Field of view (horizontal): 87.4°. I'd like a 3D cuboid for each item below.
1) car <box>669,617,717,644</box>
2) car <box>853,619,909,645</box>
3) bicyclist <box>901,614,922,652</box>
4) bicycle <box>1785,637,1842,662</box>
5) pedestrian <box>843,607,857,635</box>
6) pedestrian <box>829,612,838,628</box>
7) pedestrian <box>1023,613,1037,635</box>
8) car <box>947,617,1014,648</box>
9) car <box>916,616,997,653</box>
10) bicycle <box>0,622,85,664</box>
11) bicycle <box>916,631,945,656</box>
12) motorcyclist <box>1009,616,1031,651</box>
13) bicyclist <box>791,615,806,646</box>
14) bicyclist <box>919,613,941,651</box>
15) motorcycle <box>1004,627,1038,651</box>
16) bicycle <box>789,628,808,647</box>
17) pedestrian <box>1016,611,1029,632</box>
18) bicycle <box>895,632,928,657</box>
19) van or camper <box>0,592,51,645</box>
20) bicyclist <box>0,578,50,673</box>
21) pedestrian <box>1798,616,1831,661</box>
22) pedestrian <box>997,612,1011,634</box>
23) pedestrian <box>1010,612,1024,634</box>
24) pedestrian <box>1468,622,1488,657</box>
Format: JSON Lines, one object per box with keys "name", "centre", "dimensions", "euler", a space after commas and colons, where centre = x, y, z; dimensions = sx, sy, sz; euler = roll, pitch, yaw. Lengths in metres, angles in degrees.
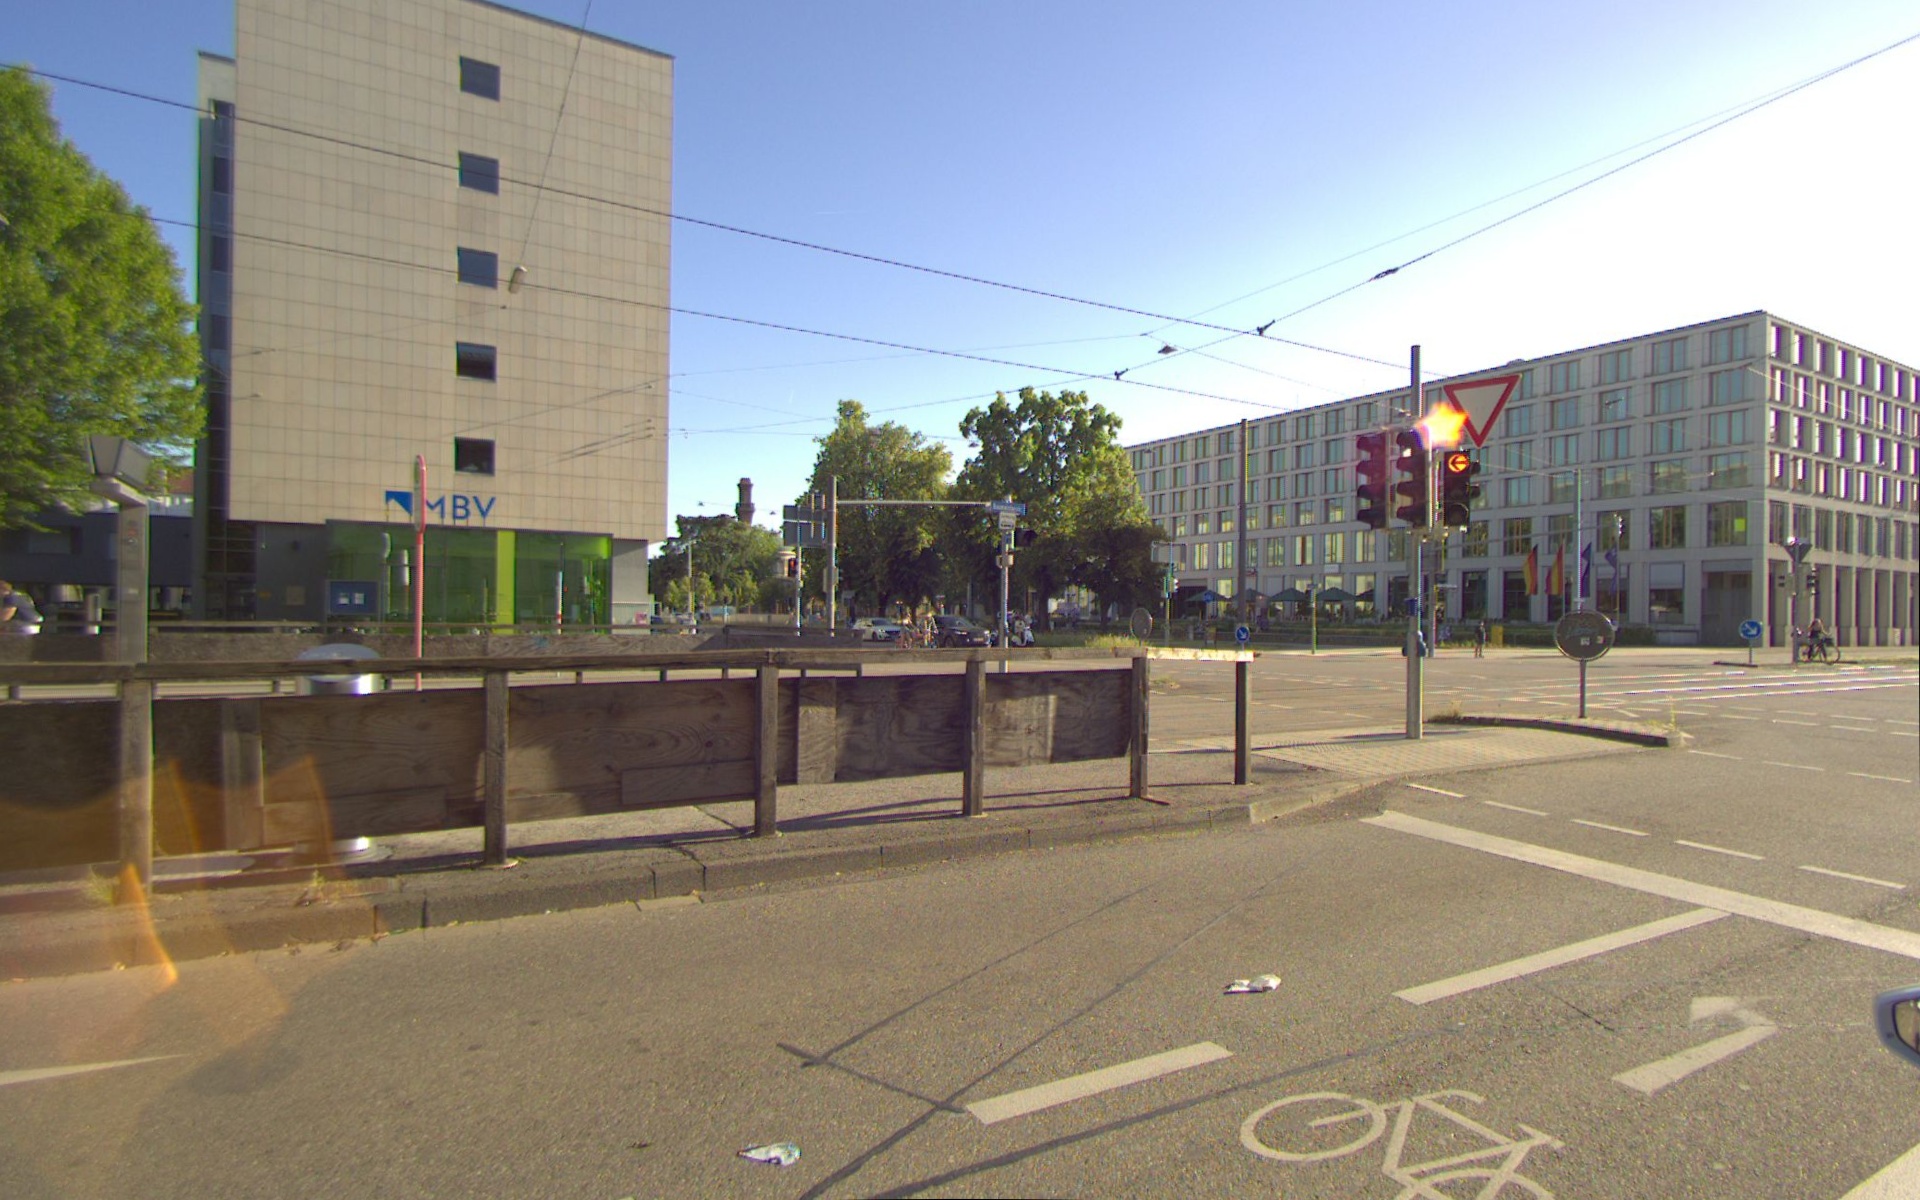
{"name": "car", "centre": [-16.355, 1.853, 61.389], "dimensions": [1.975, 1.472, 4.179], "euler": [2, 0, -28]}
{"name": "car", "centre": [-4.861, 1.934, 61.464], "dimensions": [1.975, 1.537, 3.971], "euler": [1, -1, -28]}
{"name": "bicyclist", "centre": [-2.030, 1.373, 42.015], "dimensions": [0.577, 1.563, 0.833], "euler": [1, -2, -32]}
{"name": "bicycle", "centre": [30.879, 1.787, 36.349], "dimensions": [0.562, 0.834, 1.718], "euler": [1, -1, -2]}
{"name": "pedestrian", "centre": [-8.154, 1.562, 74.135], "dimensions": [0.772, 2.040, 0.747], "euler": [1, -1, -31]}
{"name": "pedestrian", "centre": [-14.619, 2.372, 116.370], "dimensions": [0.615, 1.829, 0.769], "euler": [2, 0, 39]}
{"name": "pedestrian", "centre": [5.688, 1.905, 81.249], "dimensions": [0.858, 1.738, 0.737], "euler": [2, 0, -26]}
{"name": "car", "centre": [1.021, 1.663, 52.207], "dimensions": [1.674, 1.506, 3.719], "euler": [1, -1, -33]}
{"name": "car", "centre": [-0.209, 1.513, 44.587], "dimensions": [1.925, 1.561, 3.969], "euler": [2, -2, -29]}
{"name": "bicycle", "centre": [-18.098, 0.825, 19.309], "dimensions": [1.831, 0.798, 0.532], "euler": [1, -1, -31]}
{"name": "bicycle", "centre": [-1.264, 1.833, 42.380], "dimensions": [0.576, 1.032, 1.666], "euler": [1, -1, -27]}
{"name": "motorcyclist", "centre": [2.809, 1.544, 46.986], "dimensions": [0.624, 1.601, 0.812], "euler": [-3, 1, -28]}
{"name": "bicyclist", "centre": [-8.848, 1.674, 55.003], "dimensions": [0.576, 1.658, 0.890], "euler": [1, -1, -27]}
{"name": "bicyclist", "centre": [-1.270, 1.356, 42.416], "dimensions": [0.576, 1.563, 0.890], "euler": [1, -1, -27]}
{"name": "motorcycle", "centre": [2.849, 1.825, 46.955], "dimensions": [0.624, 1.030, 1.972], "euler": [-3, 1, -28]}
{"name": "bicycle", "centre": [-8.833, 2.043, 54.971], "dimensions": [0.576, 1.032, 1.666], "euler": [1, -1, -27]}
{"name": "pedestrian", "centre": [5.196, 1.812, 83.483], "dimensions": [0.858, 1.738, 0.737], "euler": [2, 0, -26]}
{"name": "bicycle", "centre": [-2.035, 1.851, 42.019], "dimensions": [0.577, 1.032, 1.806], "euler": [1, -3, -31]}
{"name": "van or camper", "centre": [-27.885, 0.437, 27.562], "dimensions": [3.954, 1.425, 1.954], "euler": [4, -3, -30]}
{"name": "bicyclist", "centre": [-18.025, 0.494, 19.226], "dimensions": [0.762, 1.784, 0.532], "euler": [1, -1, -30]}
{"name": "pedestrian", "centre": [30.881, 1.391, 36.312], "dimensions": [0.562, 1.616, 0.744], "euler": [1, -1, -3]}
{"name": "pedestrian", "centre": [3.549, 1.841, 81.366], "dimensions": [0.858, 1.738, 0.737], "euler": [2, 0, -26]}
{"name": "pedestrian", "centre": [4.643, 1.877, 81.980], "dimensions": [0.858, 1.738, 0.737], "euler": [2, 0, -26]}
{"name": "pedestrian", "centre": [25.113, 1.920, 48.699], "dimensions": [0.597, 1.703, 0.602], "euler": [1, -1, -22]}
